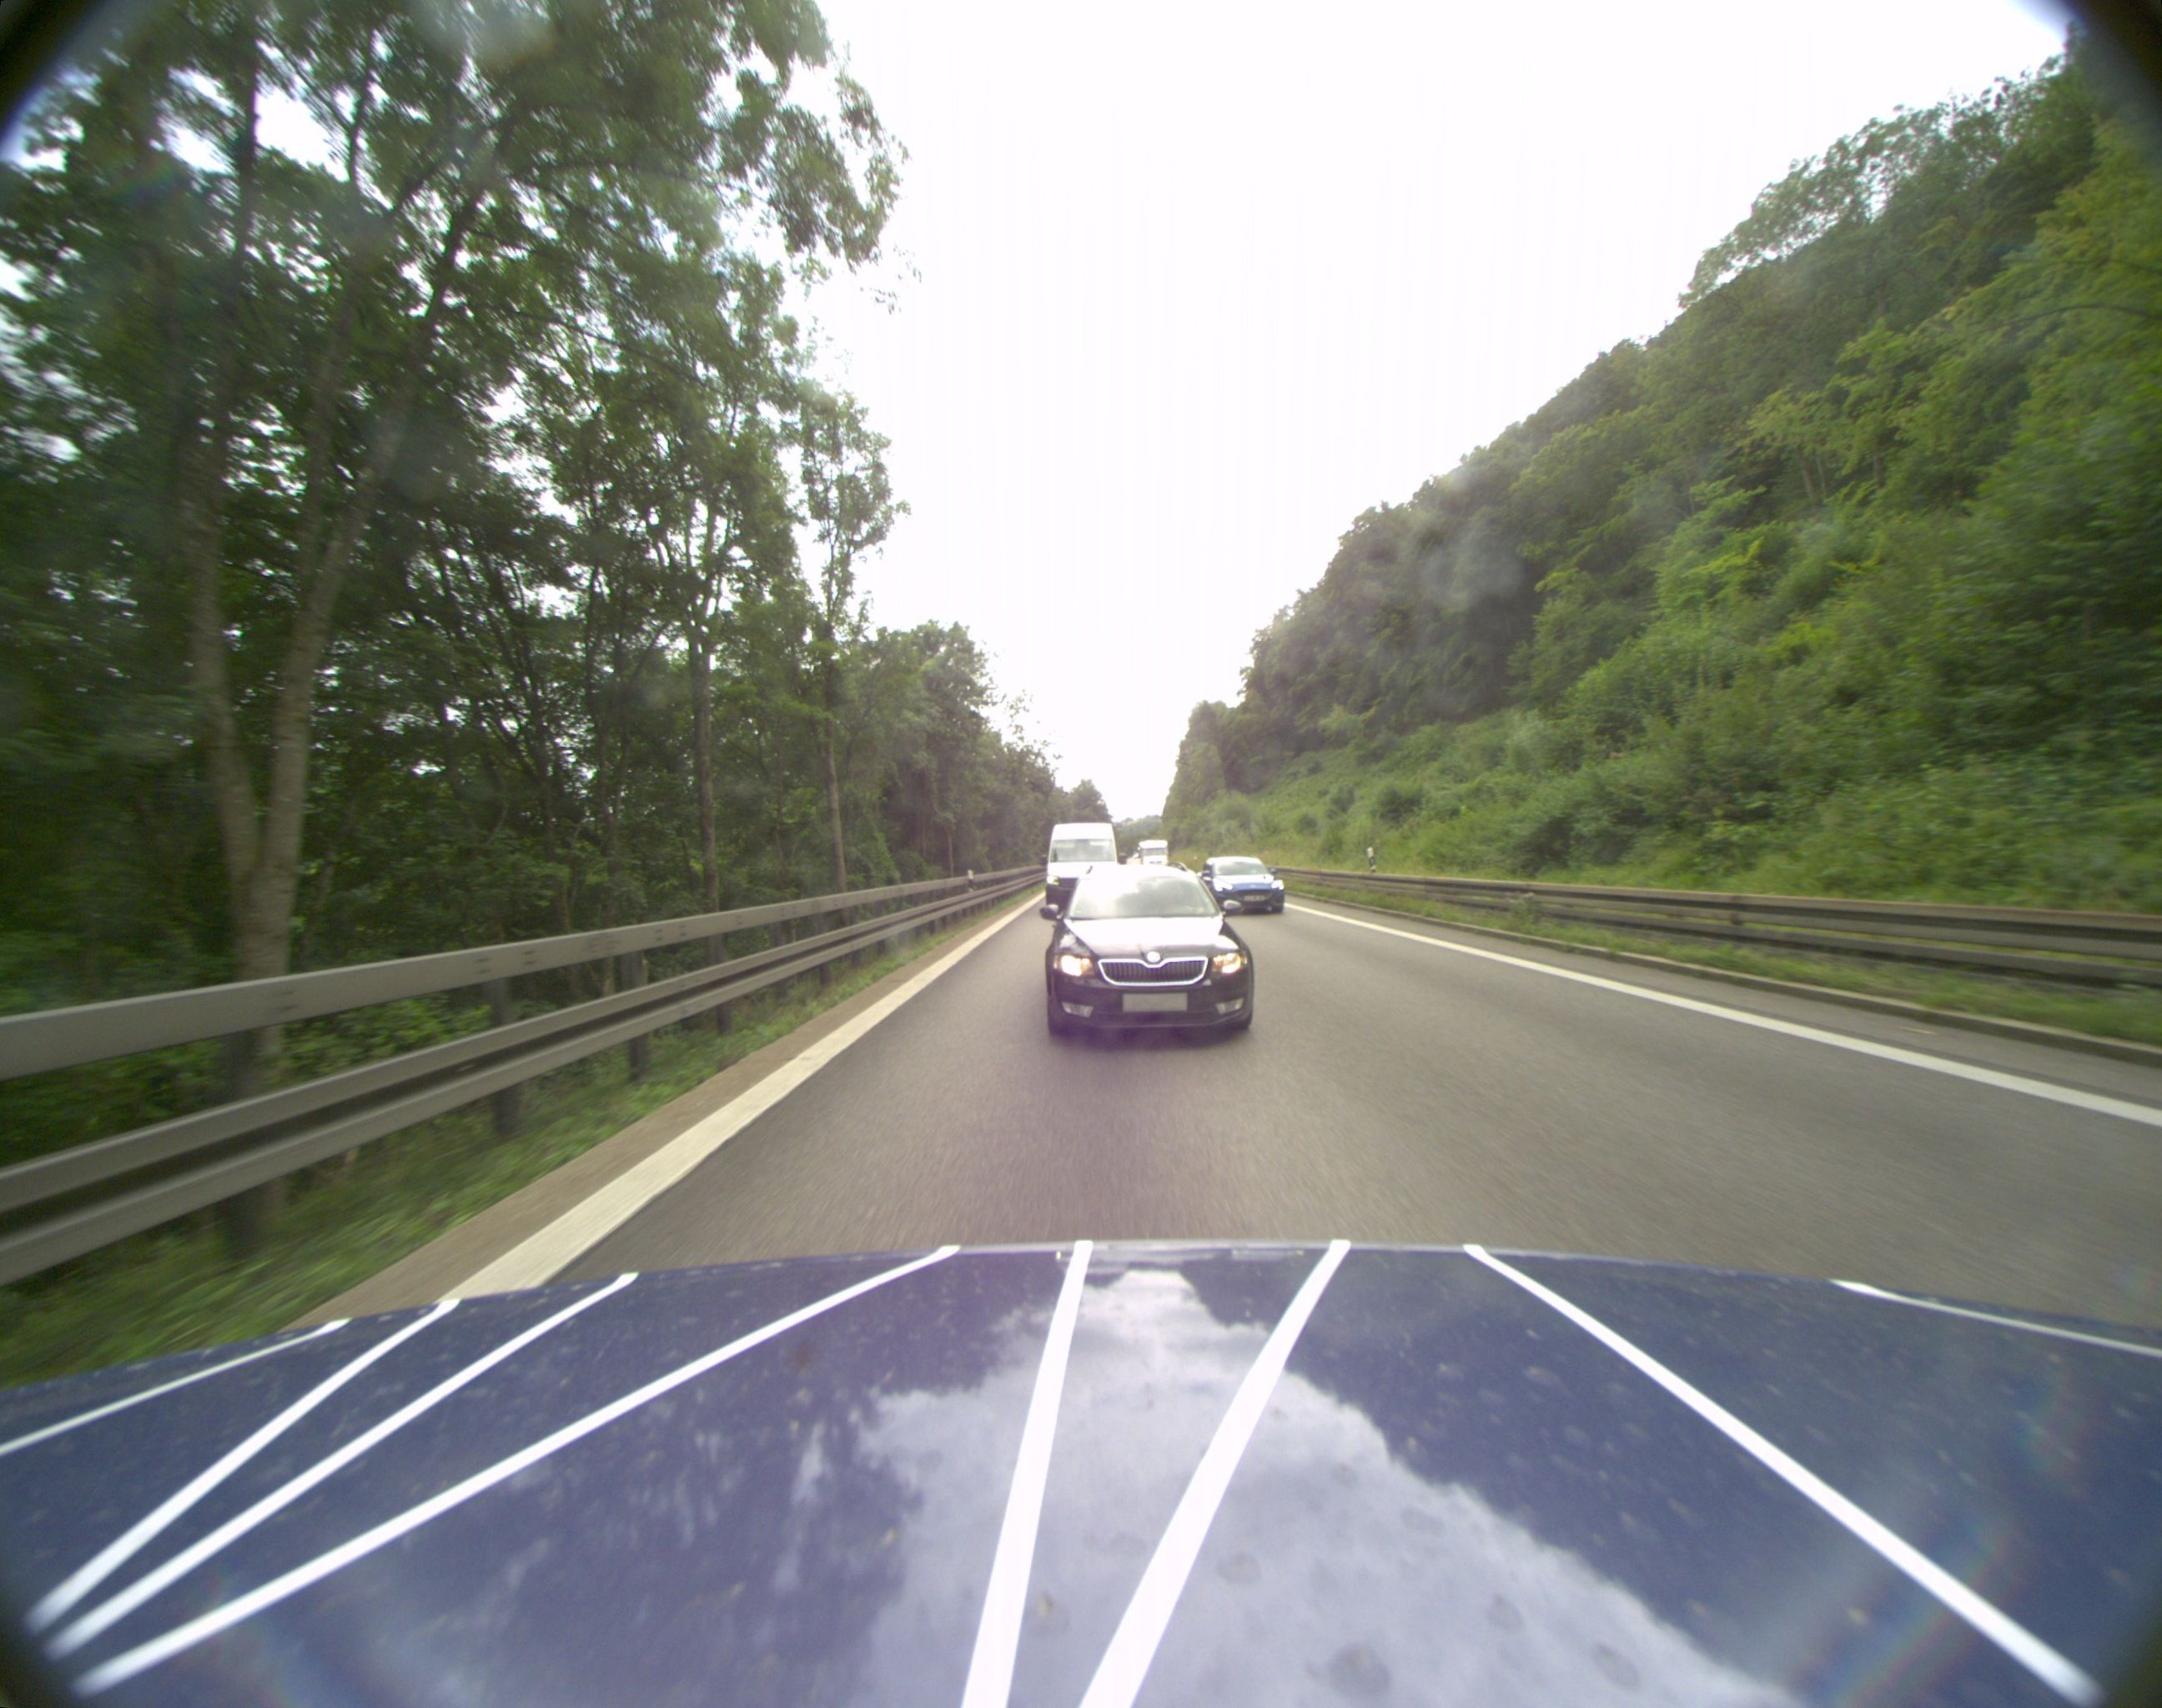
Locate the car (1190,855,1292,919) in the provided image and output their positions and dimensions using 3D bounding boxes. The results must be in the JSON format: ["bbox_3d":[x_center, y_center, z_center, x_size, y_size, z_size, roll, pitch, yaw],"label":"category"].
[{"bbox_3d":[4.187,0.794,20.591,1.840,1.460,4.555,-2,0,1],"label":"car"}]

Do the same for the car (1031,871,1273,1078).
[{"bbox_3d":[0.603,0.947,7.841,1.750,1.409,4.402,-2,0,2],"label":"car"}]

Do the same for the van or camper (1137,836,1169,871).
[{"bbox_3d":[6.016,-0.068,64.173,2.270,2.719,7.025,-1,0,2],"label":"van or camper"}]

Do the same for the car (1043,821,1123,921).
[{"bbox_3d":[0.120,0.429,22.223,2.001,2.545,5.128,-2,0,2],"label":"car"}]
